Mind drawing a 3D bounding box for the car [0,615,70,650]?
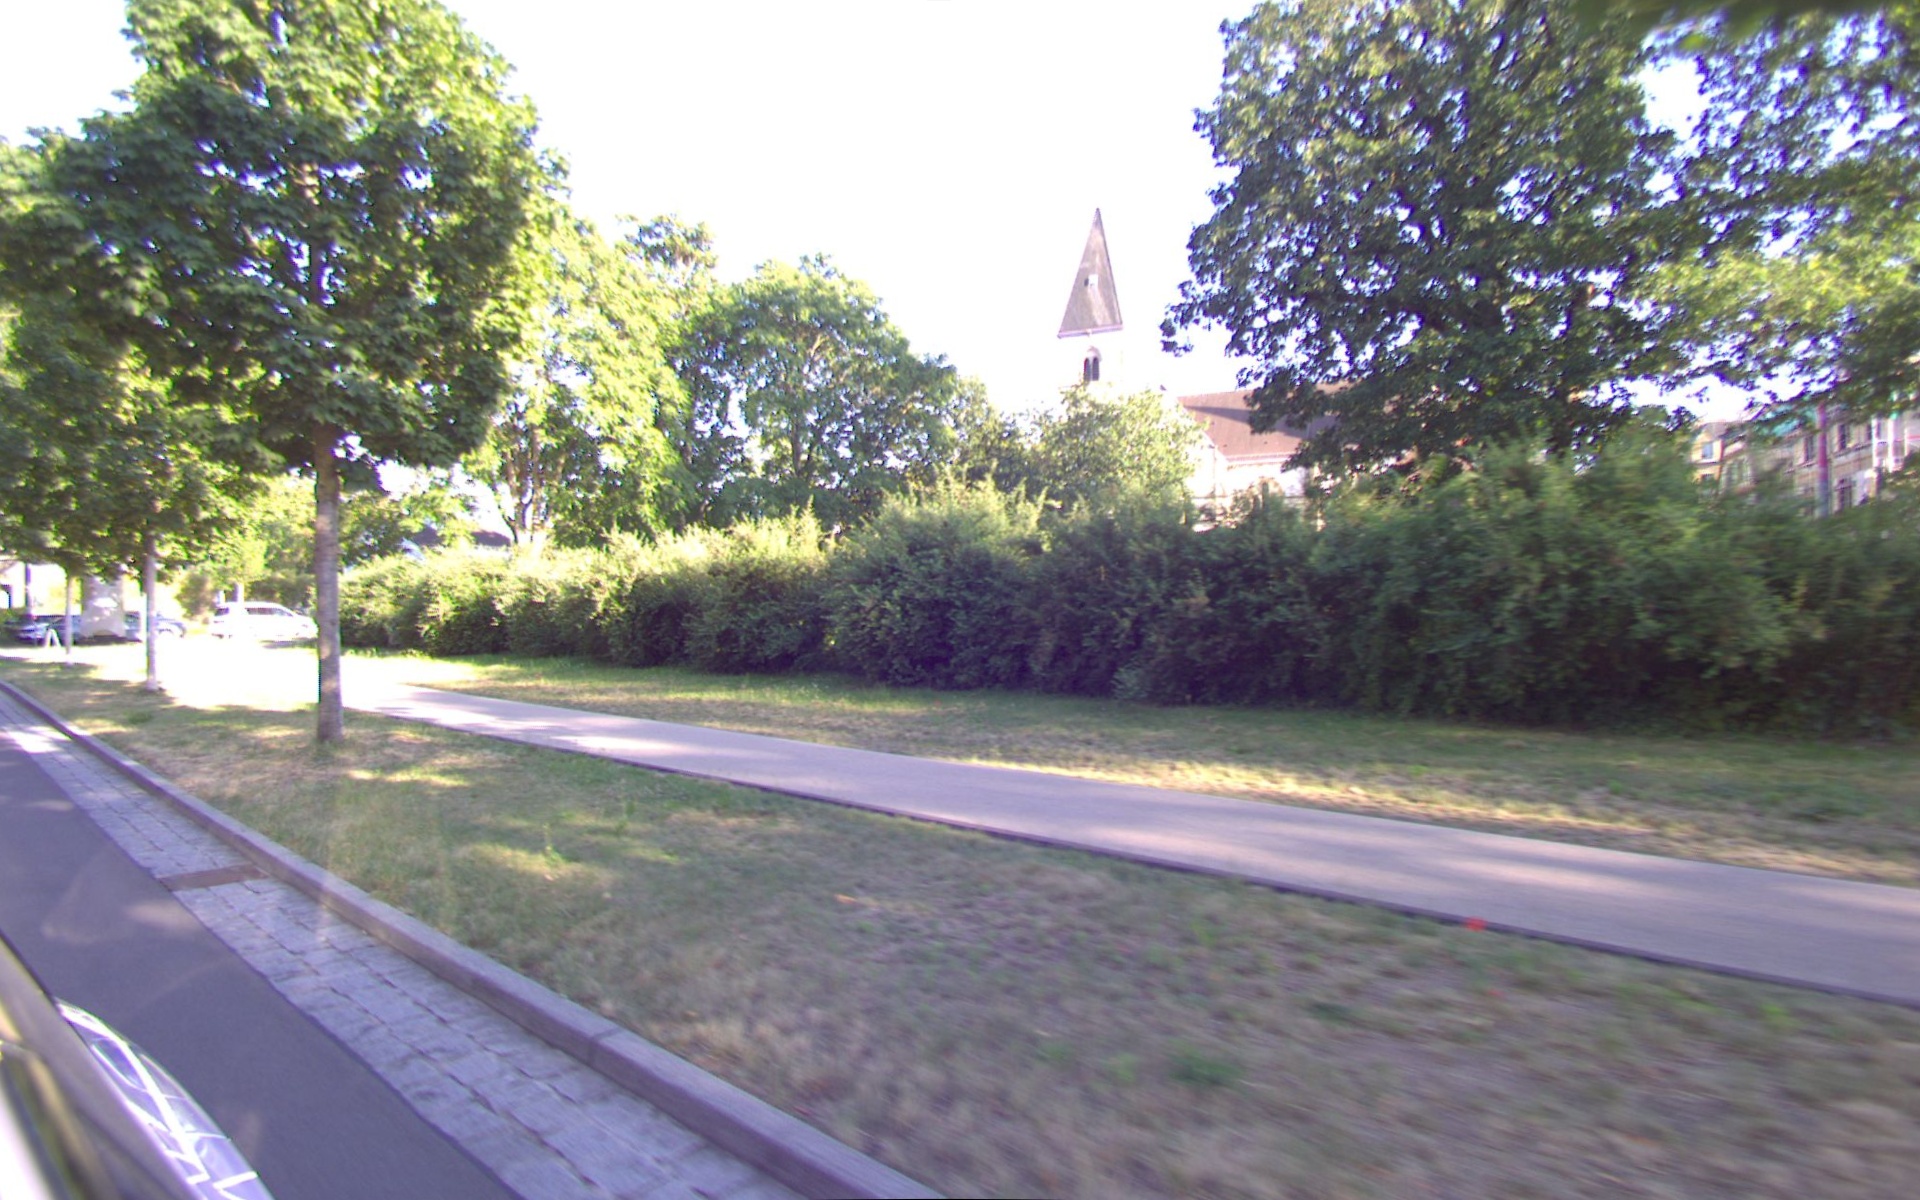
[{"bbox_3d":[-45.190,1.539,49.022,3.975,1.527,1.633,0,1,23],"label":"car"}]

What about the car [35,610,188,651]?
[{"bbox_3d":[-36.949,1.295,44.227,1.857,1.570,4.798,-2,0,25],"label":"car"}]

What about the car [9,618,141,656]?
[{"bbox_3d":[-41.279,1.708,47.294,1.774,1.546,4.307,-3,-1,27],"label":"car"}]

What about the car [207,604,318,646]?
[{"bbox_3d":[-34.529,1.218,50.211,1.752,1.931,4.203,-2,0,25],"label":"car"}]
